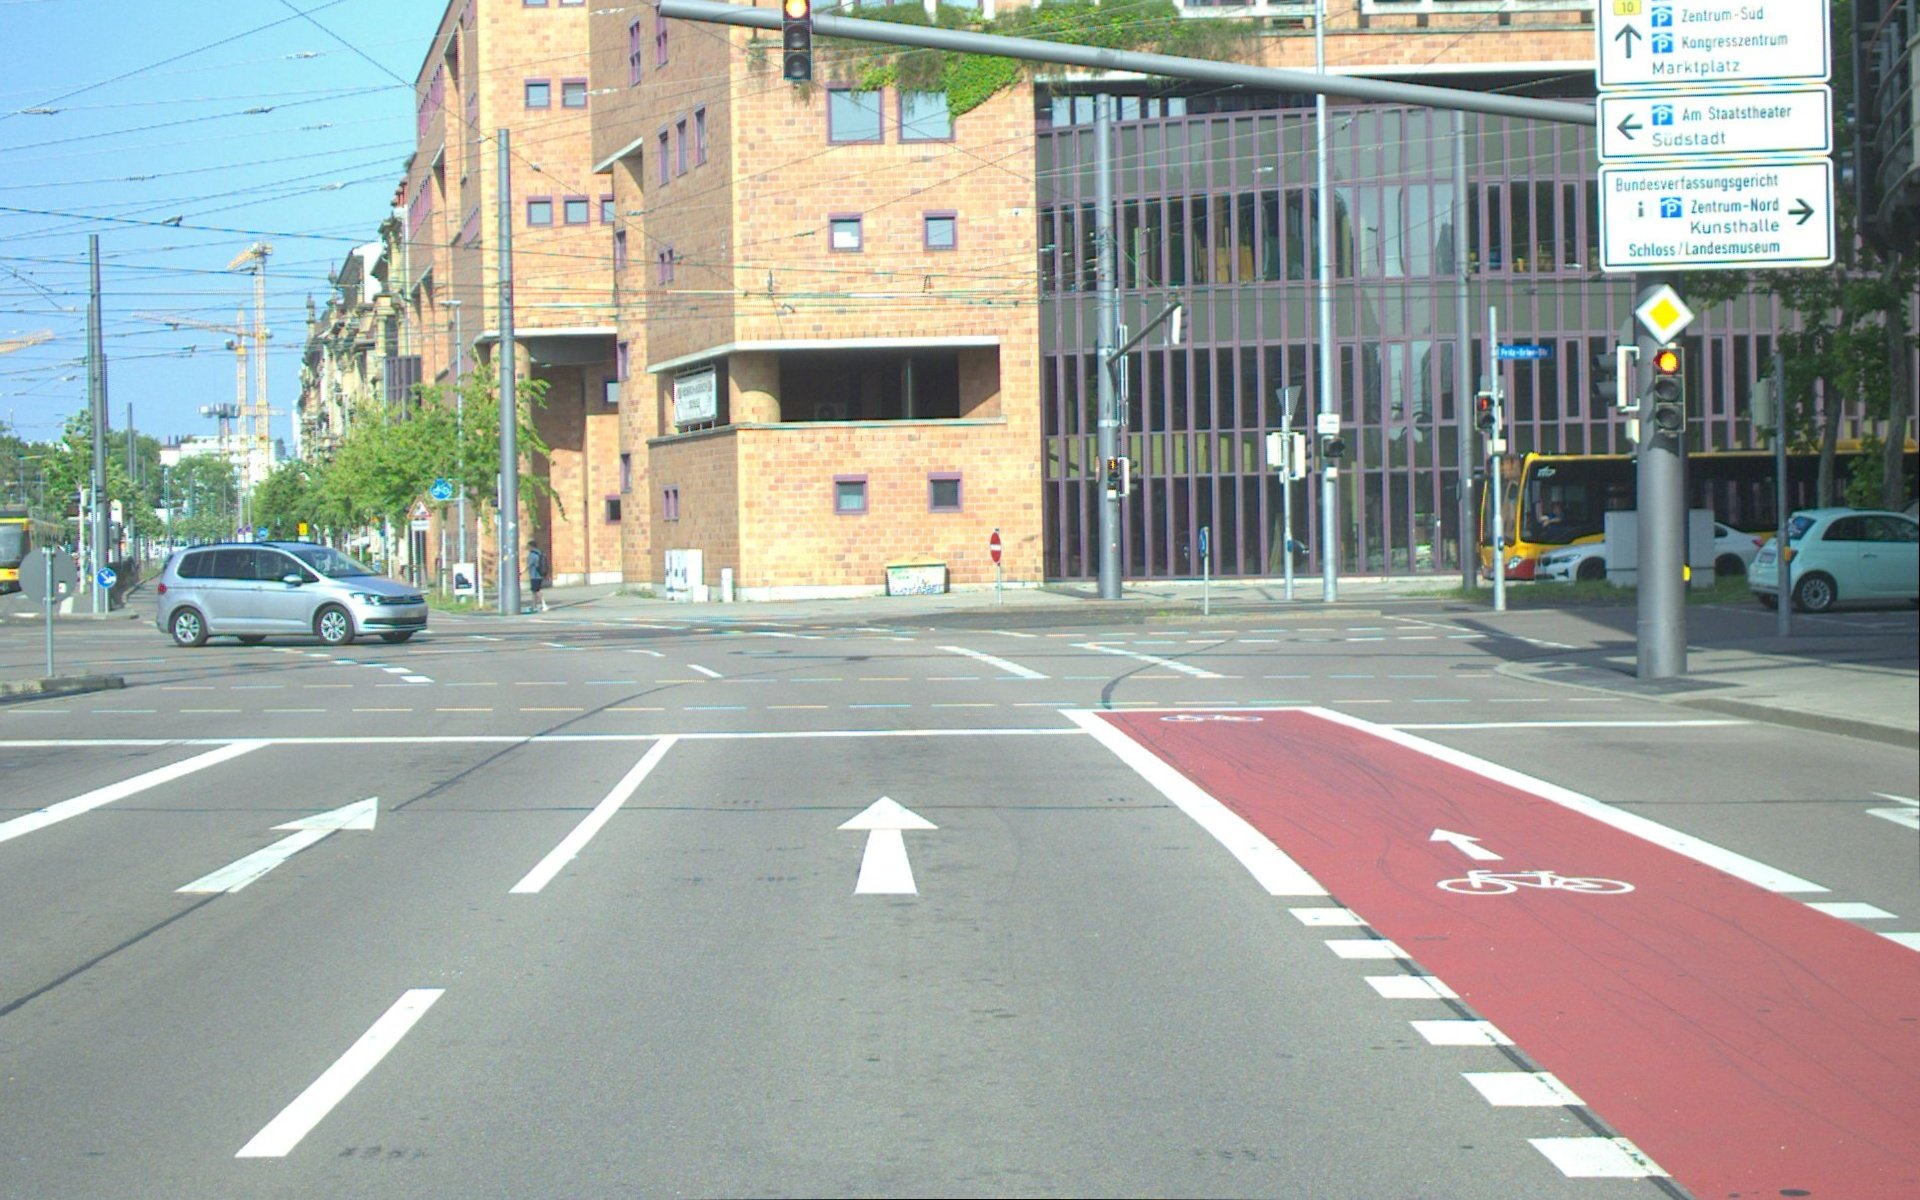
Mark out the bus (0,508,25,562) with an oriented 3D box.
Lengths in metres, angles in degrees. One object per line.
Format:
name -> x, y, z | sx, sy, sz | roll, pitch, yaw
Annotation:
bus -> -36.882, -2.469, 131.658 | 1.993, 2.007, 4.001 | -1, 1, -15

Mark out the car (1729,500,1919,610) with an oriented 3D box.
car -> 13.224, -0.657, 50.221 | 3.435, 1.536, 1.735 | -1, 0, -10

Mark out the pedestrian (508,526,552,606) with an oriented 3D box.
pedestrian -> -10.894, -0.863, 87.135 | 0.841, 2.007, 0.810 | -1, 1, 13

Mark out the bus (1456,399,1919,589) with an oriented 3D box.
bus -> 19.621, -2.324, 74.094 | 17.605, 3.797, 2.866 | -1, -1, -10

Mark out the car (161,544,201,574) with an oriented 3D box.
car -> -43.447, -2.292, 191.753 | 2.073, 1.537, 4.415 | -1, 0, -13

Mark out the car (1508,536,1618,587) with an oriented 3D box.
car -> 12.080, -0.768, 68.902 | 1.951, 0.955, 1.094 | 1, -1, -4

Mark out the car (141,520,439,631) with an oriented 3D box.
car -> -10.453, -0.380, 53.580 | 4.384, 1.629, 1.688 | 0, 3, 26
